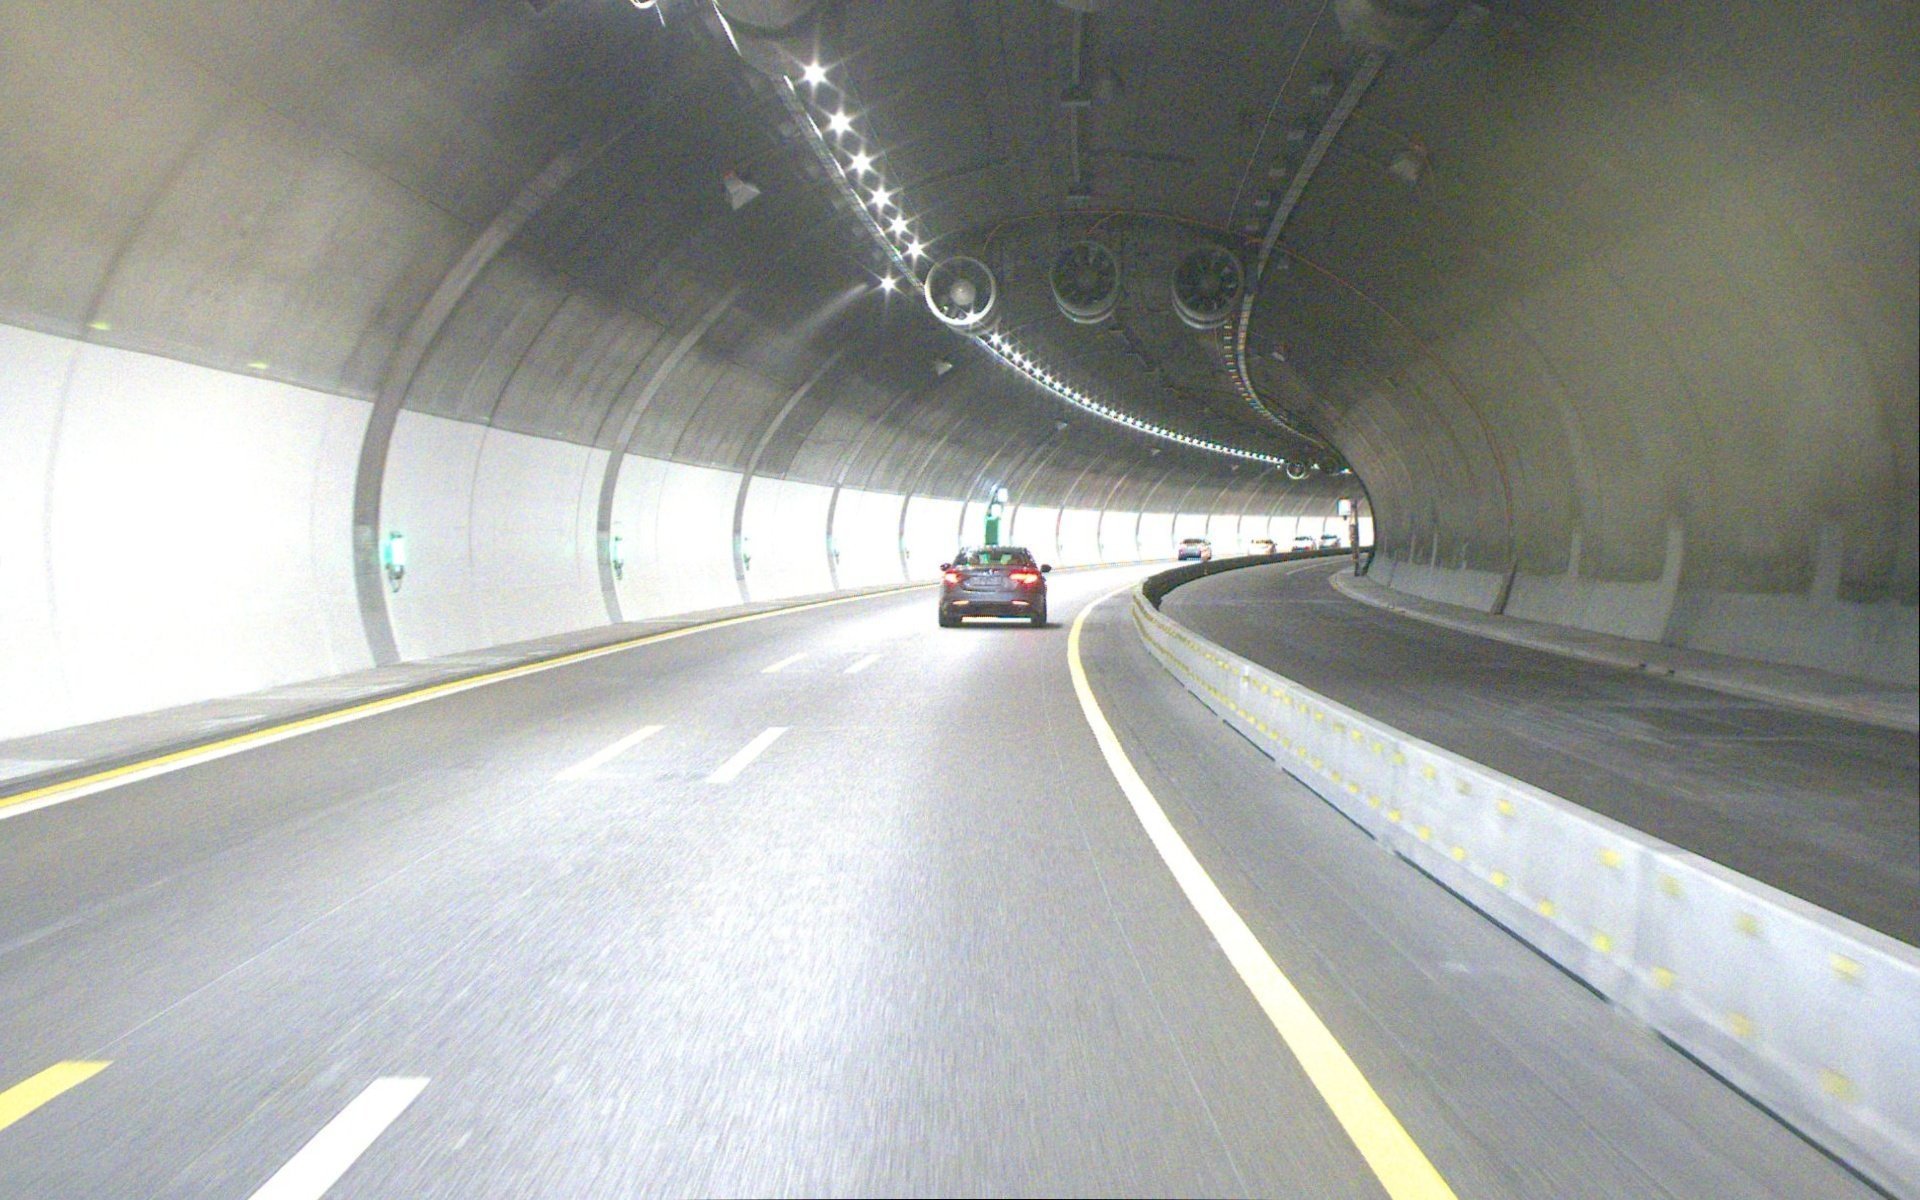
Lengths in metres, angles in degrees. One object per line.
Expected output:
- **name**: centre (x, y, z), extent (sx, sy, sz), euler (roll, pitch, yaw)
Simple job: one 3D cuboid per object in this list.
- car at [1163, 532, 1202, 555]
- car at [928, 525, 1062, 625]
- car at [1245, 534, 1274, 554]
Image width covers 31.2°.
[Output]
- **car**: centre (14.381, -3.653, 221.947), extent (2.165, 1.481, 3.999), euler (1, 1, 8)
- **car**: centre (0.653, -0.475, 61.190), extent (2.141, 1.700, 4.000), euler (1, 1, 4)
- **car**: centre (20.078, -3.737, 230.506), extent (1.596, 1.328, 3.749), euler (1, 1, 10)
